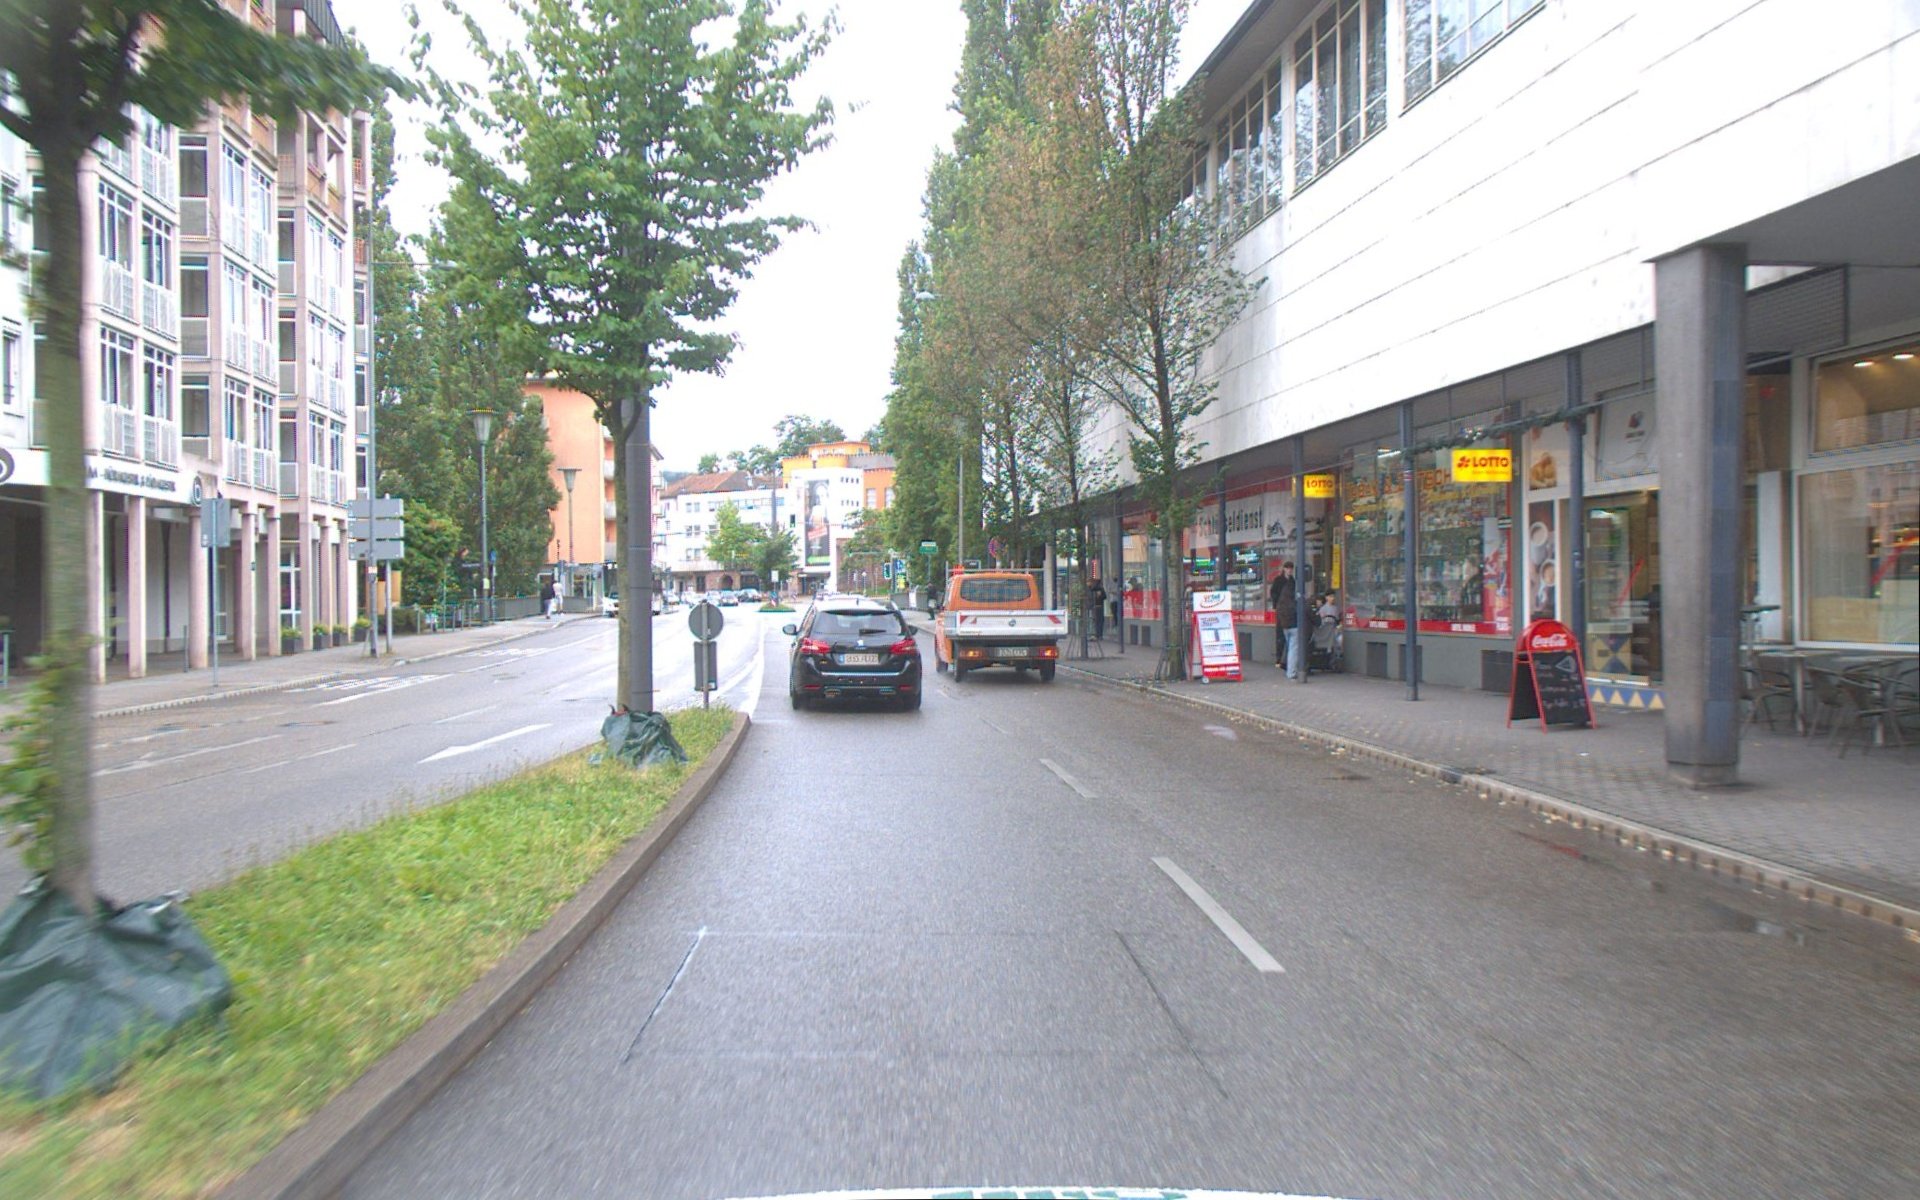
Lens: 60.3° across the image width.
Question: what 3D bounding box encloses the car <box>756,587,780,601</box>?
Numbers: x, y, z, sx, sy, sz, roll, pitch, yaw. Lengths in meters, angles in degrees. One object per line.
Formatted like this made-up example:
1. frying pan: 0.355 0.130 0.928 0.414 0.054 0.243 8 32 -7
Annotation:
1. car: -24.249 -0.745 208.857 1.628 1.592 3.562 3 -3 -31

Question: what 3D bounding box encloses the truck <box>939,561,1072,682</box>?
1. truck: 0.752 0.401 30.846 2.080 2.061 4.712 1 -1 -3

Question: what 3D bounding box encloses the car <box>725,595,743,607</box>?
1. car: -25.883 0.109 189.229 1.760 1.348 4.393 -1 0 -12

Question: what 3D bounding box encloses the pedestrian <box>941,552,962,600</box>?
1. pedestrian: -0.318 -0.899 62.644 0.641 1.798 0.921 -2 0 -7

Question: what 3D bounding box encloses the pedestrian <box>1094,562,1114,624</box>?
1. pedestrian: 4.138 -0.197 47.561 0.525 1.749 0.535 -1 0 3

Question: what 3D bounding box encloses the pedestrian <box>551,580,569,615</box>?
1. pedestrian: -21.037 -0.116 86.916 0.781 1.825 0.811 0 -1 -4

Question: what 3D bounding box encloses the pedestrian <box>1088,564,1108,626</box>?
1. pedestrian: 3.914 -0.137 46.977 0.525 1.749 0.534 -1 0 2

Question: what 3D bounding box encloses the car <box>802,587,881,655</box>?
1. car: -2.850 0.475 39.224 1.760 1.509 3.996 -1 0 -5

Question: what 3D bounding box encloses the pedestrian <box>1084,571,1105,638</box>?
1. pedestrian: 3.772 0.130 46.377 0.525 1.852 0.534 -1 0 2

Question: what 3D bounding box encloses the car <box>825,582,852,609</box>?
1. car: -8.146 -0.276 110.299 1.613 1.592 3.594 2 -3 -6

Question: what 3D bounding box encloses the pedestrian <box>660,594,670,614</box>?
1. pedestrian: -30.782 0.379 172.605 0.721 2.049 0.648 4 -4 -40

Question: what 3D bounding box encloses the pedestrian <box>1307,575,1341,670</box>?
1. pedestrian: 6.222 0.374 28.276 0.420 1.594 0.509 -1 0 -2

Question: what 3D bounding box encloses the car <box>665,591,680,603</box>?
1. car: -36.034 -0.340 207.663 1.633 1.424 3.870 -2 0 -7

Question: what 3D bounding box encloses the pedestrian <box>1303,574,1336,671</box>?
1. pedestrian: 6.022 0.370 27.706 0.380 1.594 0.429 -1 0 -9

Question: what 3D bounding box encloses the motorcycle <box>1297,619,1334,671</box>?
1. motorcycle: 5.964 0.754 27.760 0.318 0.818 0.919 -1 1 -7

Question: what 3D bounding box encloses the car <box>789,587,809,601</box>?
1. car: -19.263 -0.705 197.773 1.957 1.713 3.990 -1 0 -10

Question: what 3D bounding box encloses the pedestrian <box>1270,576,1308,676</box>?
1. pedestrian: 5.329 0.407 26.789 0.421 1.594 0.509 -1 0 -8

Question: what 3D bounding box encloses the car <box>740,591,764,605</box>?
1. car: -25.738 -0.261 204.877 1.628 1.592 3.562 3 -3 -31

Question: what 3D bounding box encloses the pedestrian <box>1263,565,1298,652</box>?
1. pedestrian: 5.916 0.154 30.505 0.422 1.594 0.507 -1 0 39

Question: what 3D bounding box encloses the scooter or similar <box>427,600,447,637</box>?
1. scooter or similar: -20.009 0.695 63.288 0.473 1.336 1.568 -1 2 -10

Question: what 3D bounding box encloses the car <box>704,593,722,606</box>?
1. car: -26.376 -0.033 176.791 1.757 1.348 4.400 -1 0 -7

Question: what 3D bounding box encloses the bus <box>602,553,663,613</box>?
1. bus: -18.309 -1.043 93.041 2.693 3.129 12.215 -1 2 -8

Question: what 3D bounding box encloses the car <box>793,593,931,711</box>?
1. car: -1.417 0.698 23.417 1.759 1.509 3.996 1 -1 -4

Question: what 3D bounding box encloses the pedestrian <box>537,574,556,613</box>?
1. pedestrian: -19.604 -0.304 78.378 0.684 1.825 0.958 0 -1 -4
